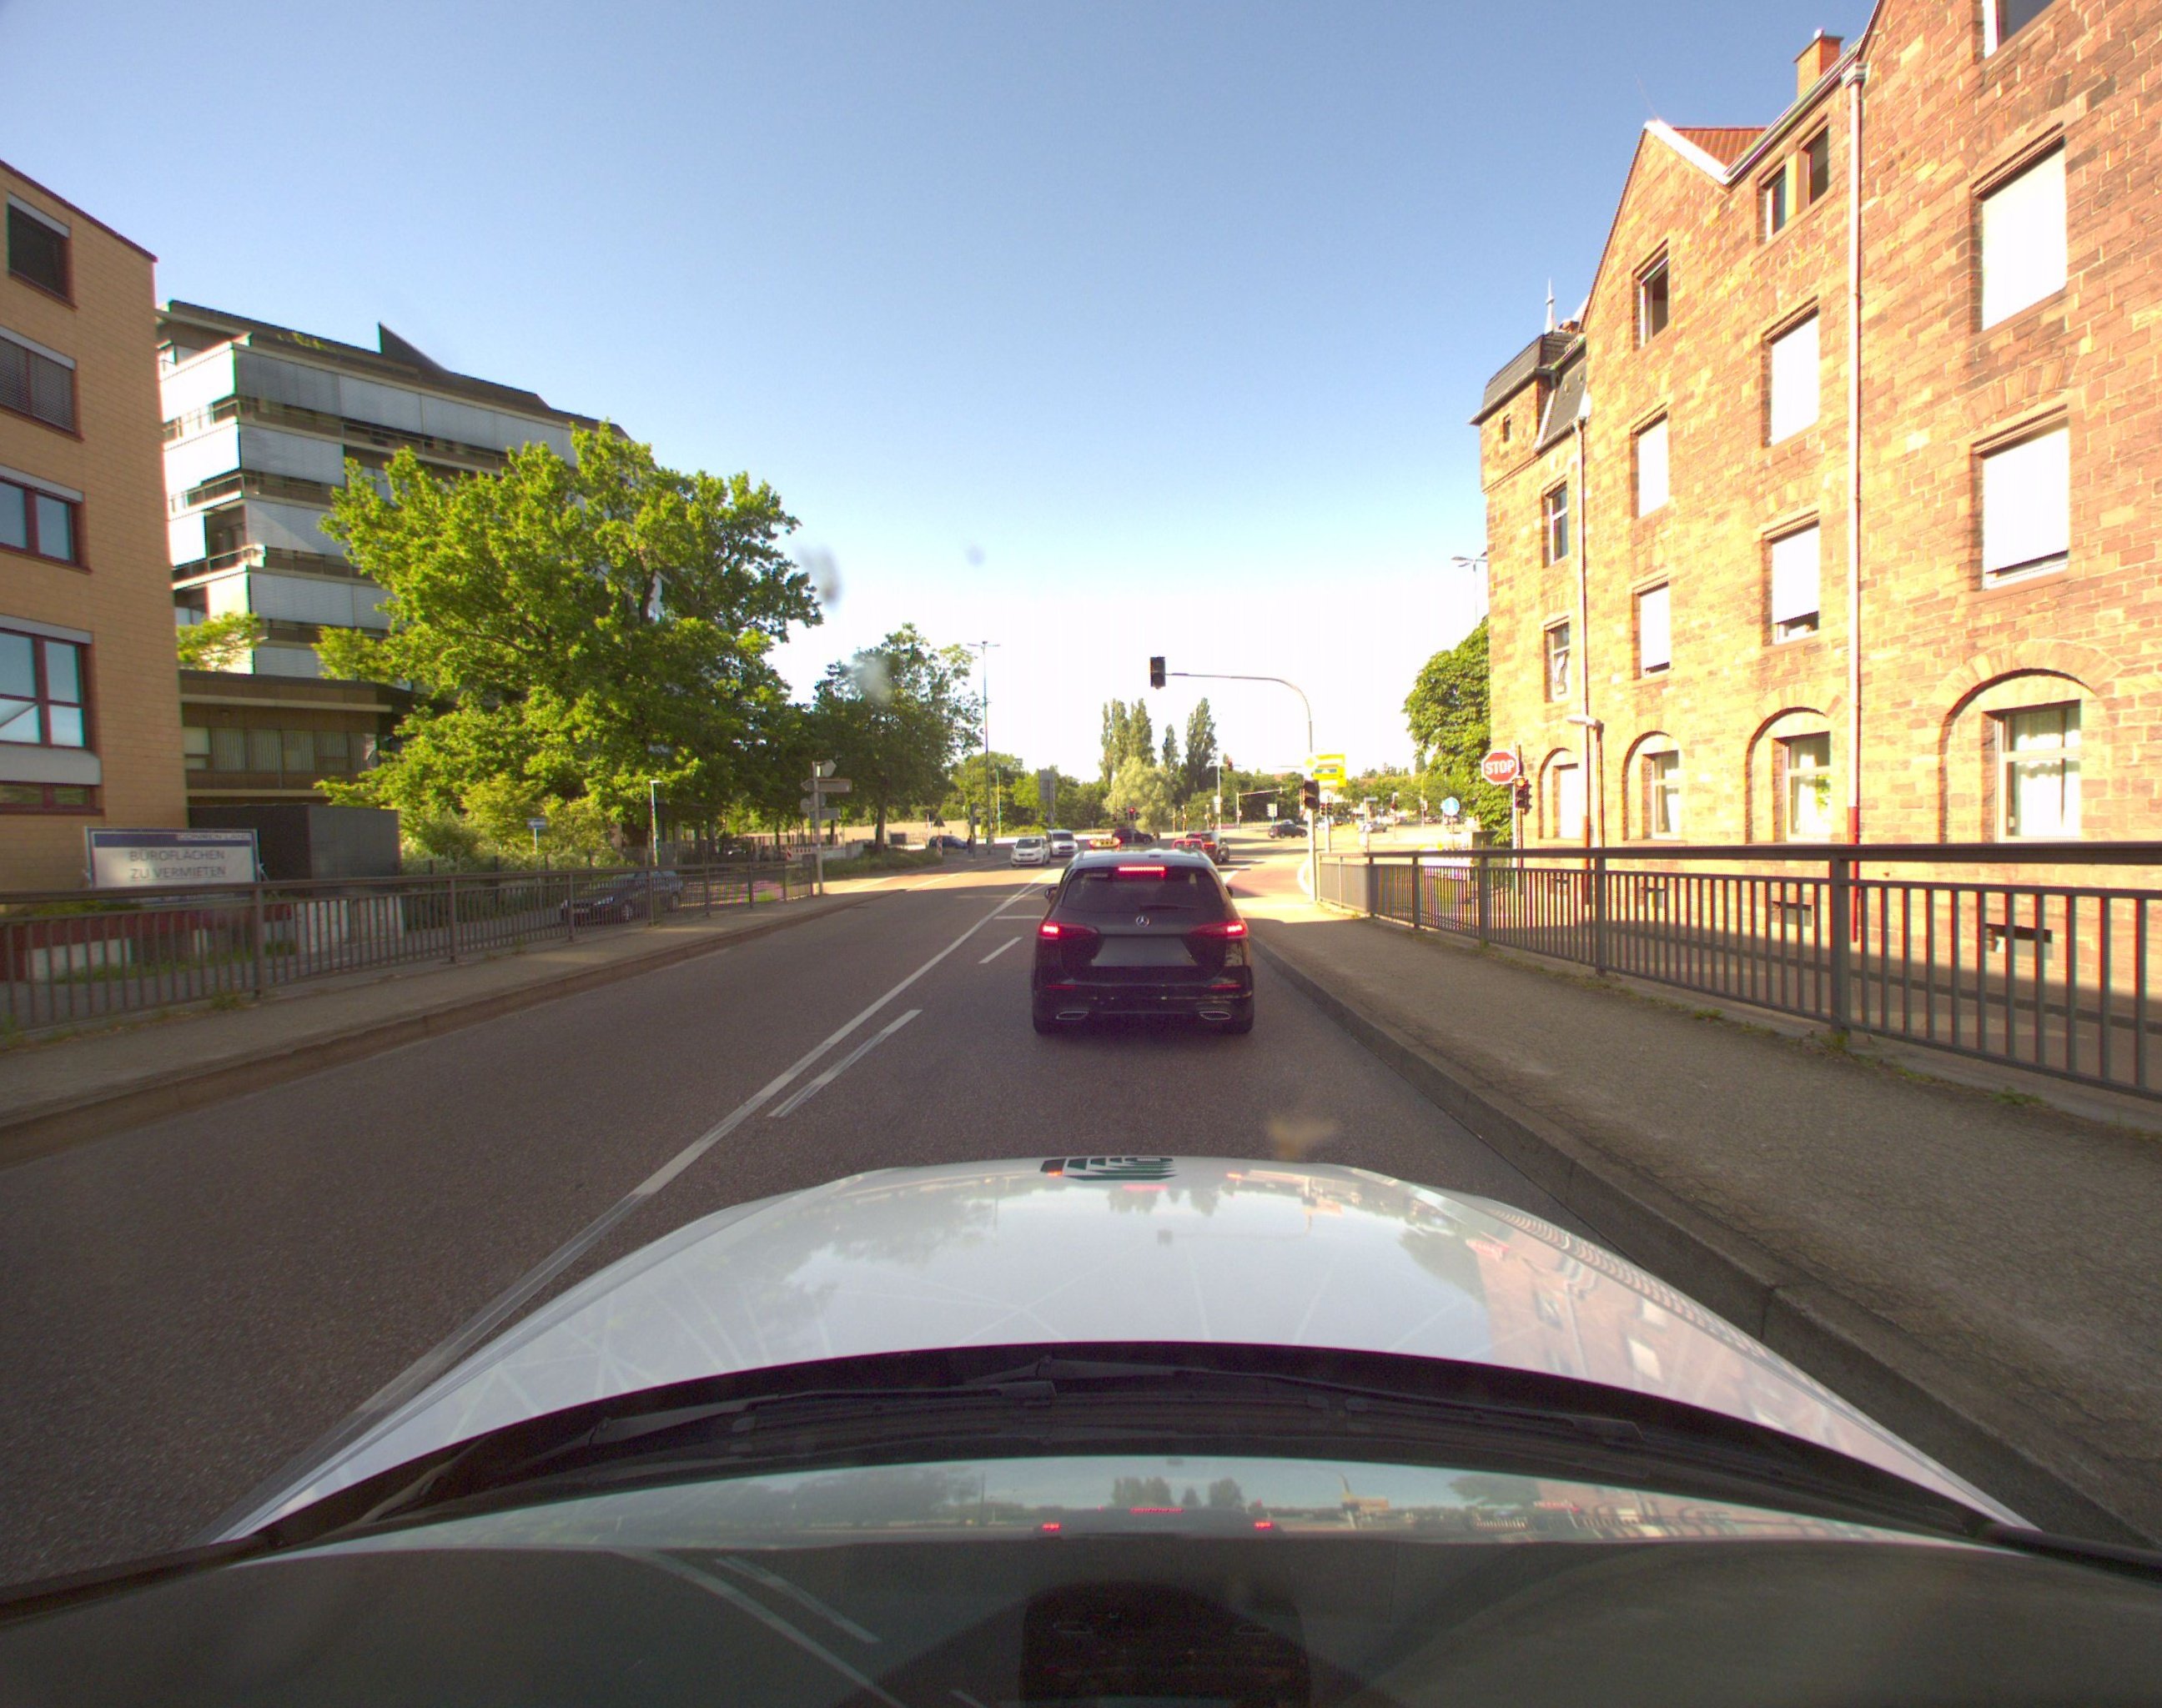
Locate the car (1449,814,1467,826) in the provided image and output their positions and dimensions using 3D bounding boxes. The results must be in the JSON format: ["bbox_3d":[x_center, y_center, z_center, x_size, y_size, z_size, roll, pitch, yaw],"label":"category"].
[{"bbox_3d":[56.111,-5.051,121.185,1.722,1.497,4.026,-2,0,35],"label":"car"}]

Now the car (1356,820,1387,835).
[{"bbox_3d":[32.814,-3.005,91.963,1.867,1.629,4.025,-1,2,41],"label":"car"}]

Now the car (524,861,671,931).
[{"bbox_3d":[-14.259,1.177,24.322,1.845,1.692,4.002,-2,2,1],"label":"car"}]

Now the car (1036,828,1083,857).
[{"bbox_3d":[-1.499,-0.802,55.829,1.923,1.794,4.871,-3,2,-17],"label":"car"}]

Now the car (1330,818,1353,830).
[{"bbox_3d":[37.626,-4.322,117.452,1.860,1.578,4.026,-1,2,37],"label":"car"}]

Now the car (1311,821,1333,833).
[{"bbox_3d":[36.023,-4.020,121.536,1.860,1.578,4.026,-1,2,37],"label":"car"}]

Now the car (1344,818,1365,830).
[{"bbox_3d":[41.478,-4.551,123.528,1.860,1.578,4.026,-1,2,37],"label":"car"}]

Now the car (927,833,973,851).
[{"bbox_3d":[-13.284,-1.218,82.688,4.354,1.629,1.903,-1,1,31],"label":"car"}]

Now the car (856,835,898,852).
[{"bbox_3d":[-22.166,-1.122,88.499,4.354,1.629,1.903,-1,1,32],"label":"car"}]

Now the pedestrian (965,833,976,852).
[{"bbox_3d":[-8.988,-0.912,66.251,0.700,1.525,0.746,-1,1,12],"label":"pedestrian"}]

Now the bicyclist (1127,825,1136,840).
[{"bbox_3d":[5.443,-2.296,87.892,0.811,1.551,0.521,-4,1,-39],"label":"bicyclist"}]

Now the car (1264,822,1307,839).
[{"bbox_3d":[20.812,-2.373,82.921,4.008,1.629,1.875,-3,1,-26],"label":"car"}]

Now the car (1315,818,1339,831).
[{"bbox_3d":[33.974,-4.056,112.347,1.860,1.578,4.026,-1,2,37],"label":"car"}]

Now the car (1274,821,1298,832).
[{"bbox_3d":[29.719,-3.983,117.829,1.860,1.578,4.026,-1,2,37],"label":"car"}]

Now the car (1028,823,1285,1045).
[{"bbox_3d":[0.601,0.565,7.968,1.871,1.613,4.001,-1,1,1],"label":"car"}]

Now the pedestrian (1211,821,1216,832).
[{"bbox_3d":[19.005,-3.981,117.049,0.446,1.585,0.505,-2,2,42],"label":"pedestrian"}]

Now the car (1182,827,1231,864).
[{"bbox_3d":[6.683,-0.469,43.047,1.707,1.812,4.319,-2,1,19],"label":"car"}]

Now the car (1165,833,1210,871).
[{"bbox_3d":[4.942,-0.125,37.421,1.710,1.521,3.499,-1,3,12],"label":"car"}]

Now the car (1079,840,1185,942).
[{"bbox_3d":[0.921,0.573,14.819,1.633,1.529,3.478,-3,1,4],"label":"car"}]

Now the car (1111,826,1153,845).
[{"bbox_3d":[4.929,-1.805,78.939,3.972,1.629,1.892,-2,1,1],"label":"car"}]

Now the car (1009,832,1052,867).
[{"bbox_3d":[-2.720,-0.280,44.900,1.770,1.635,4.006,-3,3,4],"label":"car"}]

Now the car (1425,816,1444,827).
[{"bbox_3d":[55.512,-5.017,127.825,1.866,1.547,4.025,-1,-1,34],"label":"car"}]
